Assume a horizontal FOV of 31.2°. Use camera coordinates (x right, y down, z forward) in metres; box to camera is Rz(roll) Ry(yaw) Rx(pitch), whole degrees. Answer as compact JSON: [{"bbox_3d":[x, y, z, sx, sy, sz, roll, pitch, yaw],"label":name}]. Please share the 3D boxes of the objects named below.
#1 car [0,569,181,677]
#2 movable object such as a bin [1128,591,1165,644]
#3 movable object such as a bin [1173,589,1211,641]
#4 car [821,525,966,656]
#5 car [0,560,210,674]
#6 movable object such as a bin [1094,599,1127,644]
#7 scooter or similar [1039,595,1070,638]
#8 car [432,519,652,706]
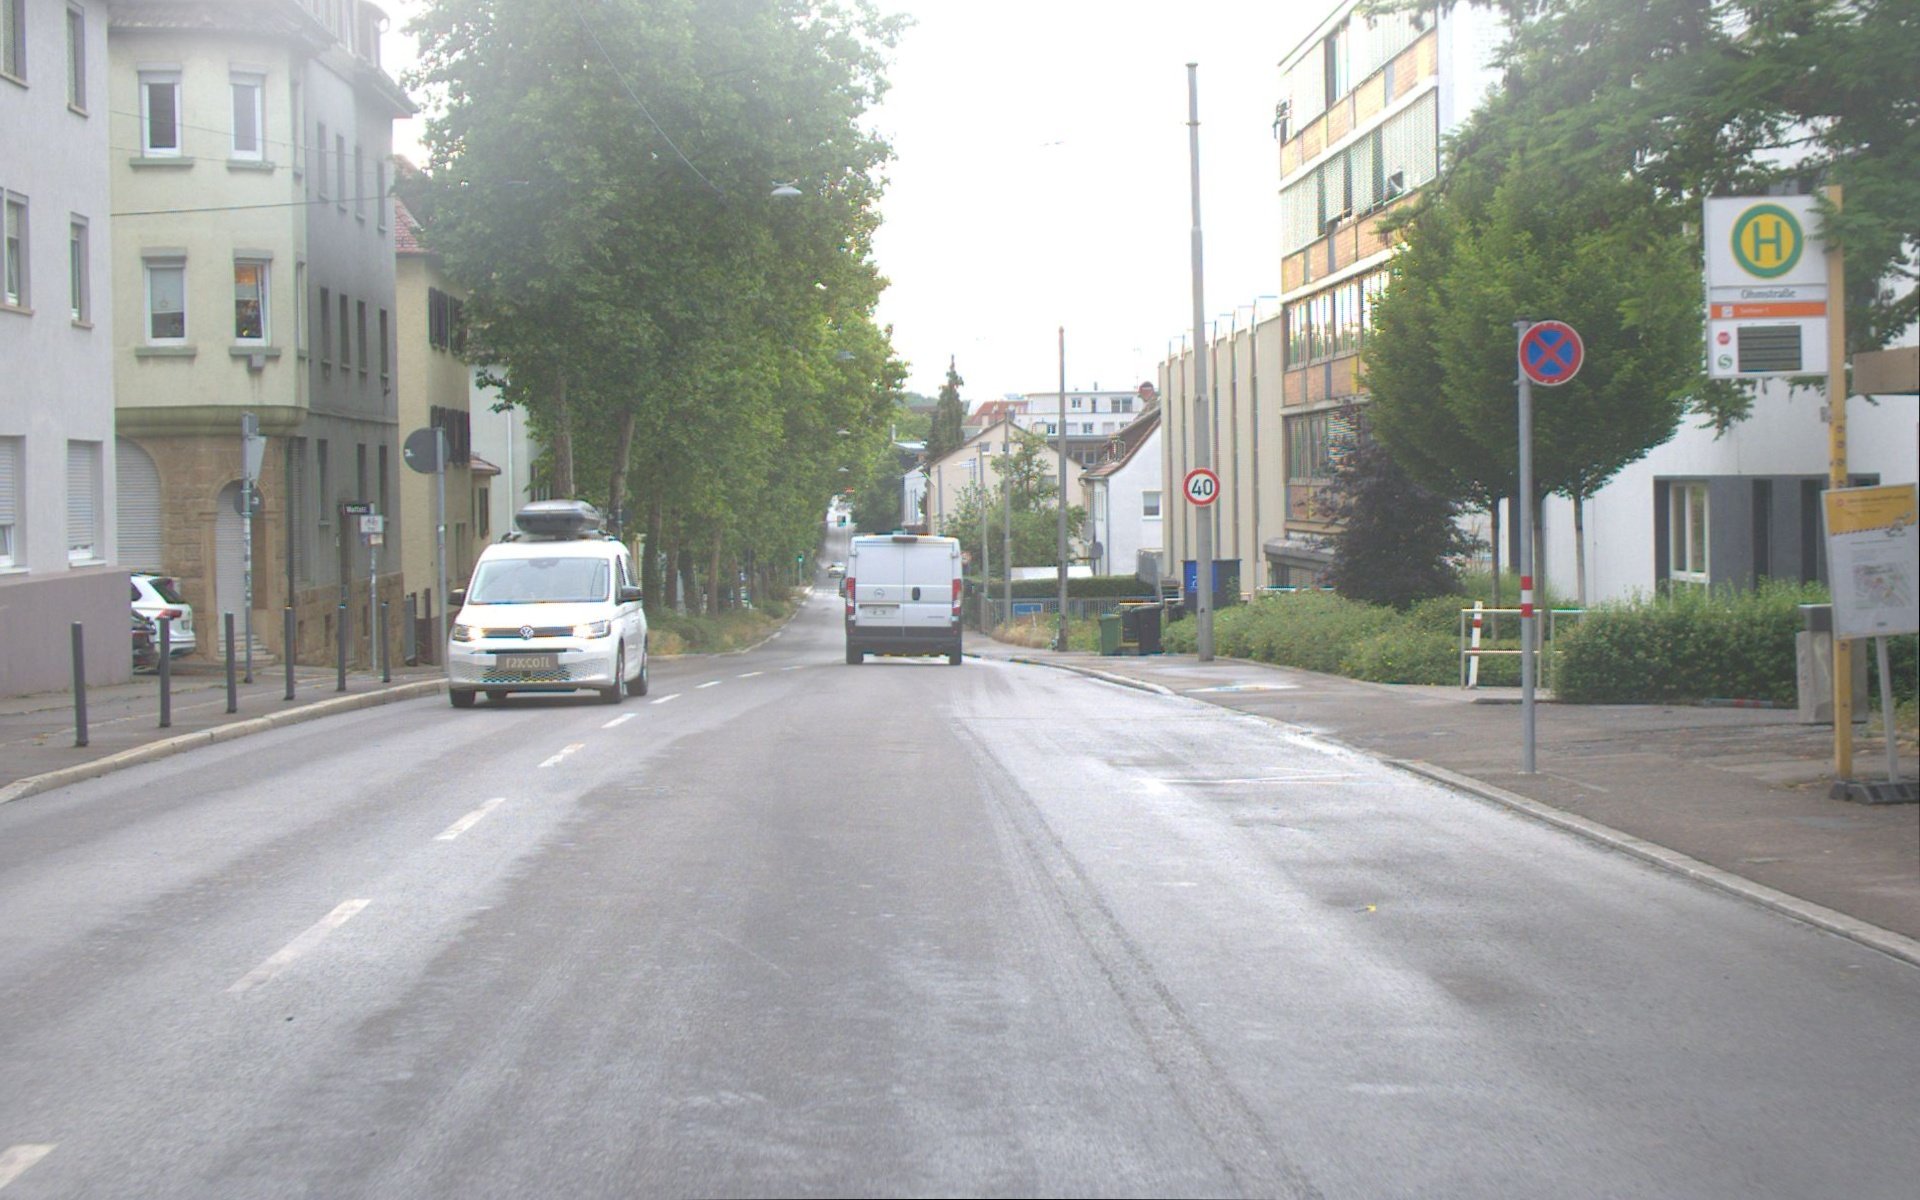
[{"bbox_3d":[-13.729,0.300,50.787,3.986,1.448,2.000,2,0,-2],"label":"car"},{"bbox_3d":[4.010,0.375,74.001,0.695,1.078,0.778,-4,0,0],"label":"movable object such as a bin"},{"bbox_3d":[4.986,0.327,74.068,0.695,1.078,0.778,-4,0,0],"label":"movable object such as a bin"},{"bbox_3d":[-1.234,-0.210,61.194,2.346,2.153,4.778,-1,2,-3],"label":"car"},{"bbox_3d":[-14.635,0.244,56.416,4.182,1.698,2.000,2,0,-1],"label":"car"},{"bbox_3d":[3.229,0.457,73.831,0.619,0.933,0.686,-4,0,0],"label":"movable object such as a bin"},{"bbox_3d":[2.546,0.445,92.723,0.605,1.158,1.700,-1,0,-6],"label":"scooter or similar"},{"bbox_3d":[-4.472,0.110,37.401,1.882,1.863,4.453,-2,0,-1],"label":"car"}]
